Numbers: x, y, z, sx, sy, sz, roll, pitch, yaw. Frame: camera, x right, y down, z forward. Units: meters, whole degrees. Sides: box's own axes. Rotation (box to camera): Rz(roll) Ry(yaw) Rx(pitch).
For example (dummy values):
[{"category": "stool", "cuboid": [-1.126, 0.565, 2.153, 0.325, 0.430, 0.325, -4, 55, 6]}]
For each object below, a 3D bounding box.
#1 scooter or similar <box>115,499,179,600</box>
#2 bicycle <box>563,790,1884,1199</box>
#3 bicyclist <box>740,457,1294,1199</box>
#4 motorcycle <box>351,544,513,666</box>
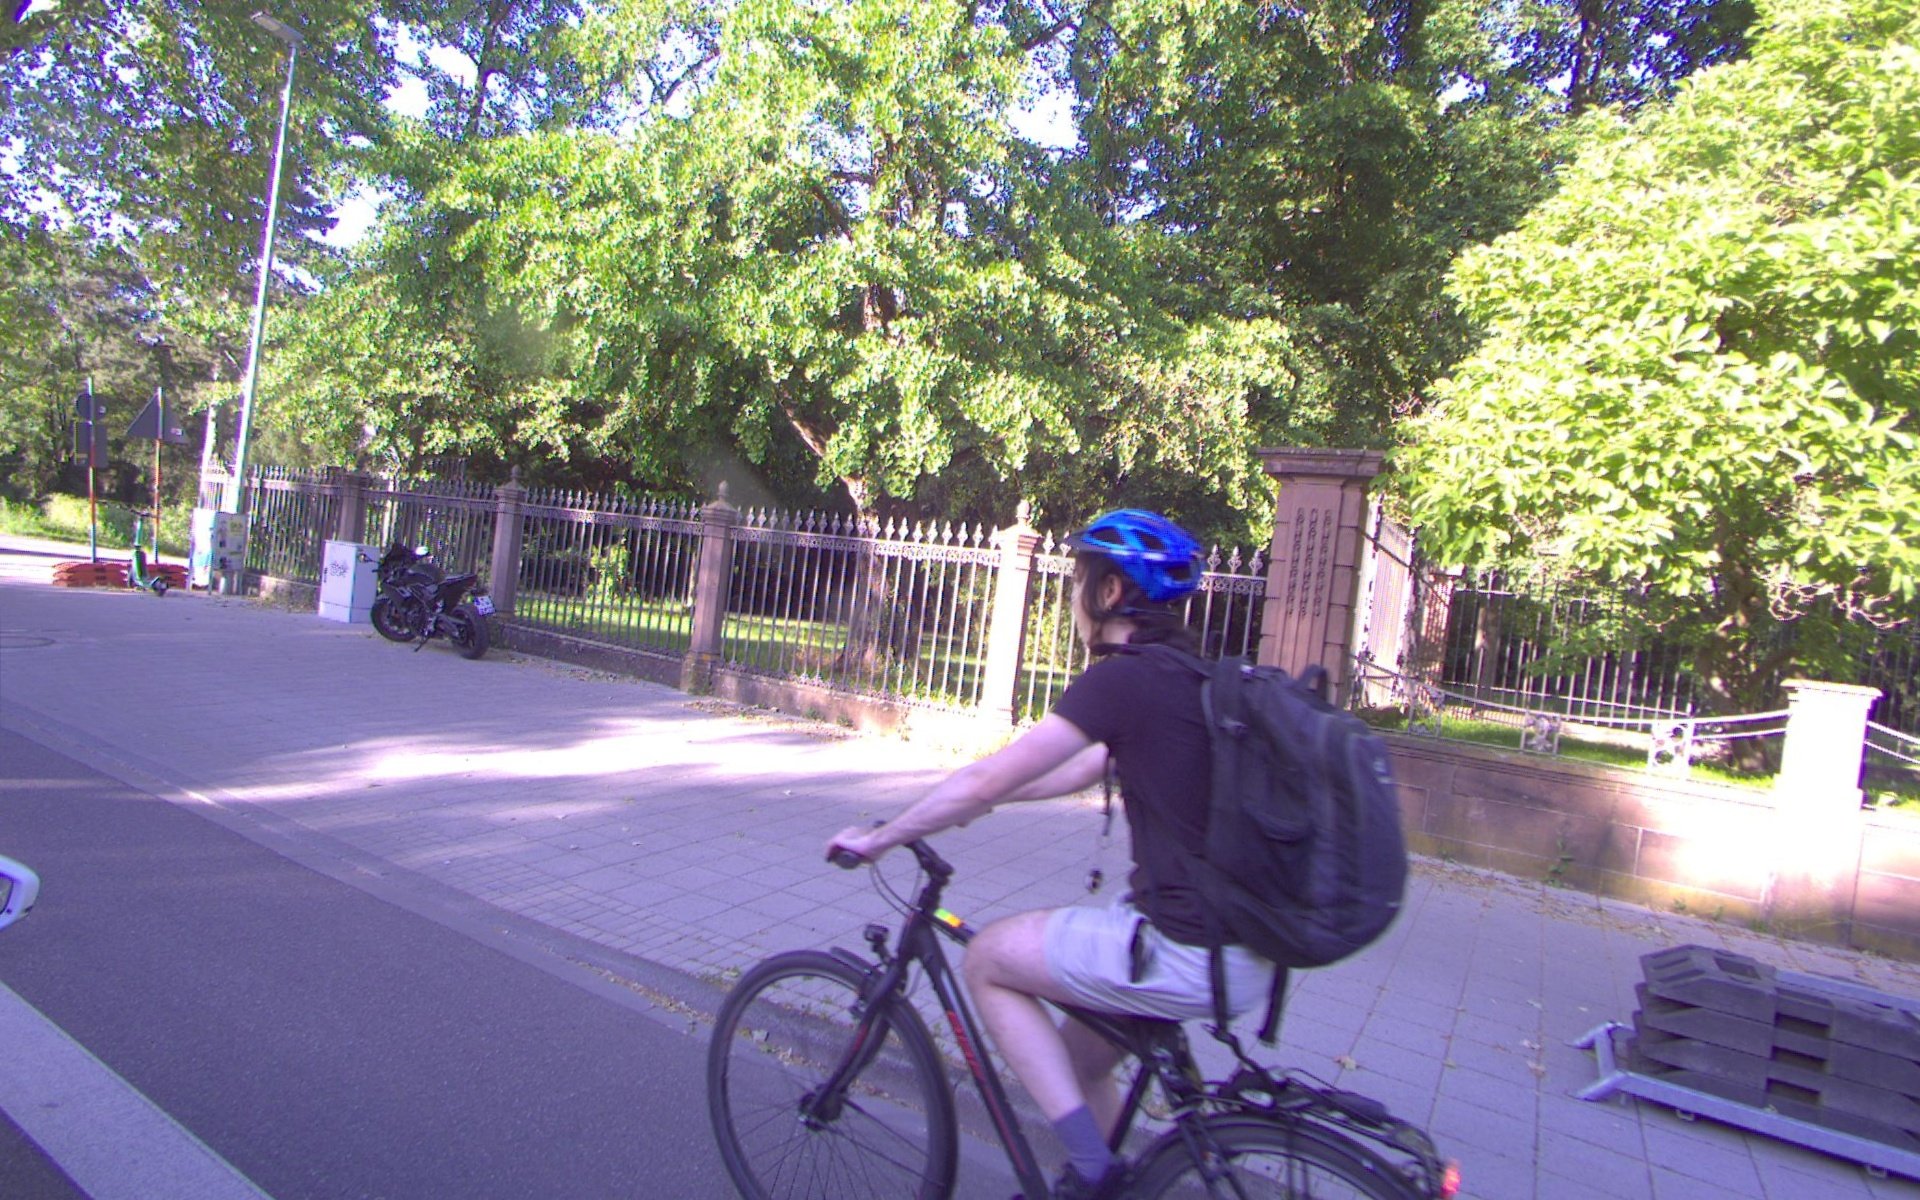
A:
[{"category": "scooter or similar", "cuboid": [-11.684, -0.734, 14.448, 1.152, 1.344, 0.228, 7, 2, 30]}, {"category": "bicycle", "cuboid": [0.241, 1.099, 1.902, 2.046, 1.021, 0.670, 7, -1, 30]}, {"category": "bicyclist", "cuboid": [0.131, 0.603, 2.010, 0.709, 1.621, 0.666, 7, -1, 30]}, {"category": "motorcycle", "cuboid": [-6.017, 0.032, 11.415, 2.134, 1.146, 0.506, 7, 2, 30]}]
